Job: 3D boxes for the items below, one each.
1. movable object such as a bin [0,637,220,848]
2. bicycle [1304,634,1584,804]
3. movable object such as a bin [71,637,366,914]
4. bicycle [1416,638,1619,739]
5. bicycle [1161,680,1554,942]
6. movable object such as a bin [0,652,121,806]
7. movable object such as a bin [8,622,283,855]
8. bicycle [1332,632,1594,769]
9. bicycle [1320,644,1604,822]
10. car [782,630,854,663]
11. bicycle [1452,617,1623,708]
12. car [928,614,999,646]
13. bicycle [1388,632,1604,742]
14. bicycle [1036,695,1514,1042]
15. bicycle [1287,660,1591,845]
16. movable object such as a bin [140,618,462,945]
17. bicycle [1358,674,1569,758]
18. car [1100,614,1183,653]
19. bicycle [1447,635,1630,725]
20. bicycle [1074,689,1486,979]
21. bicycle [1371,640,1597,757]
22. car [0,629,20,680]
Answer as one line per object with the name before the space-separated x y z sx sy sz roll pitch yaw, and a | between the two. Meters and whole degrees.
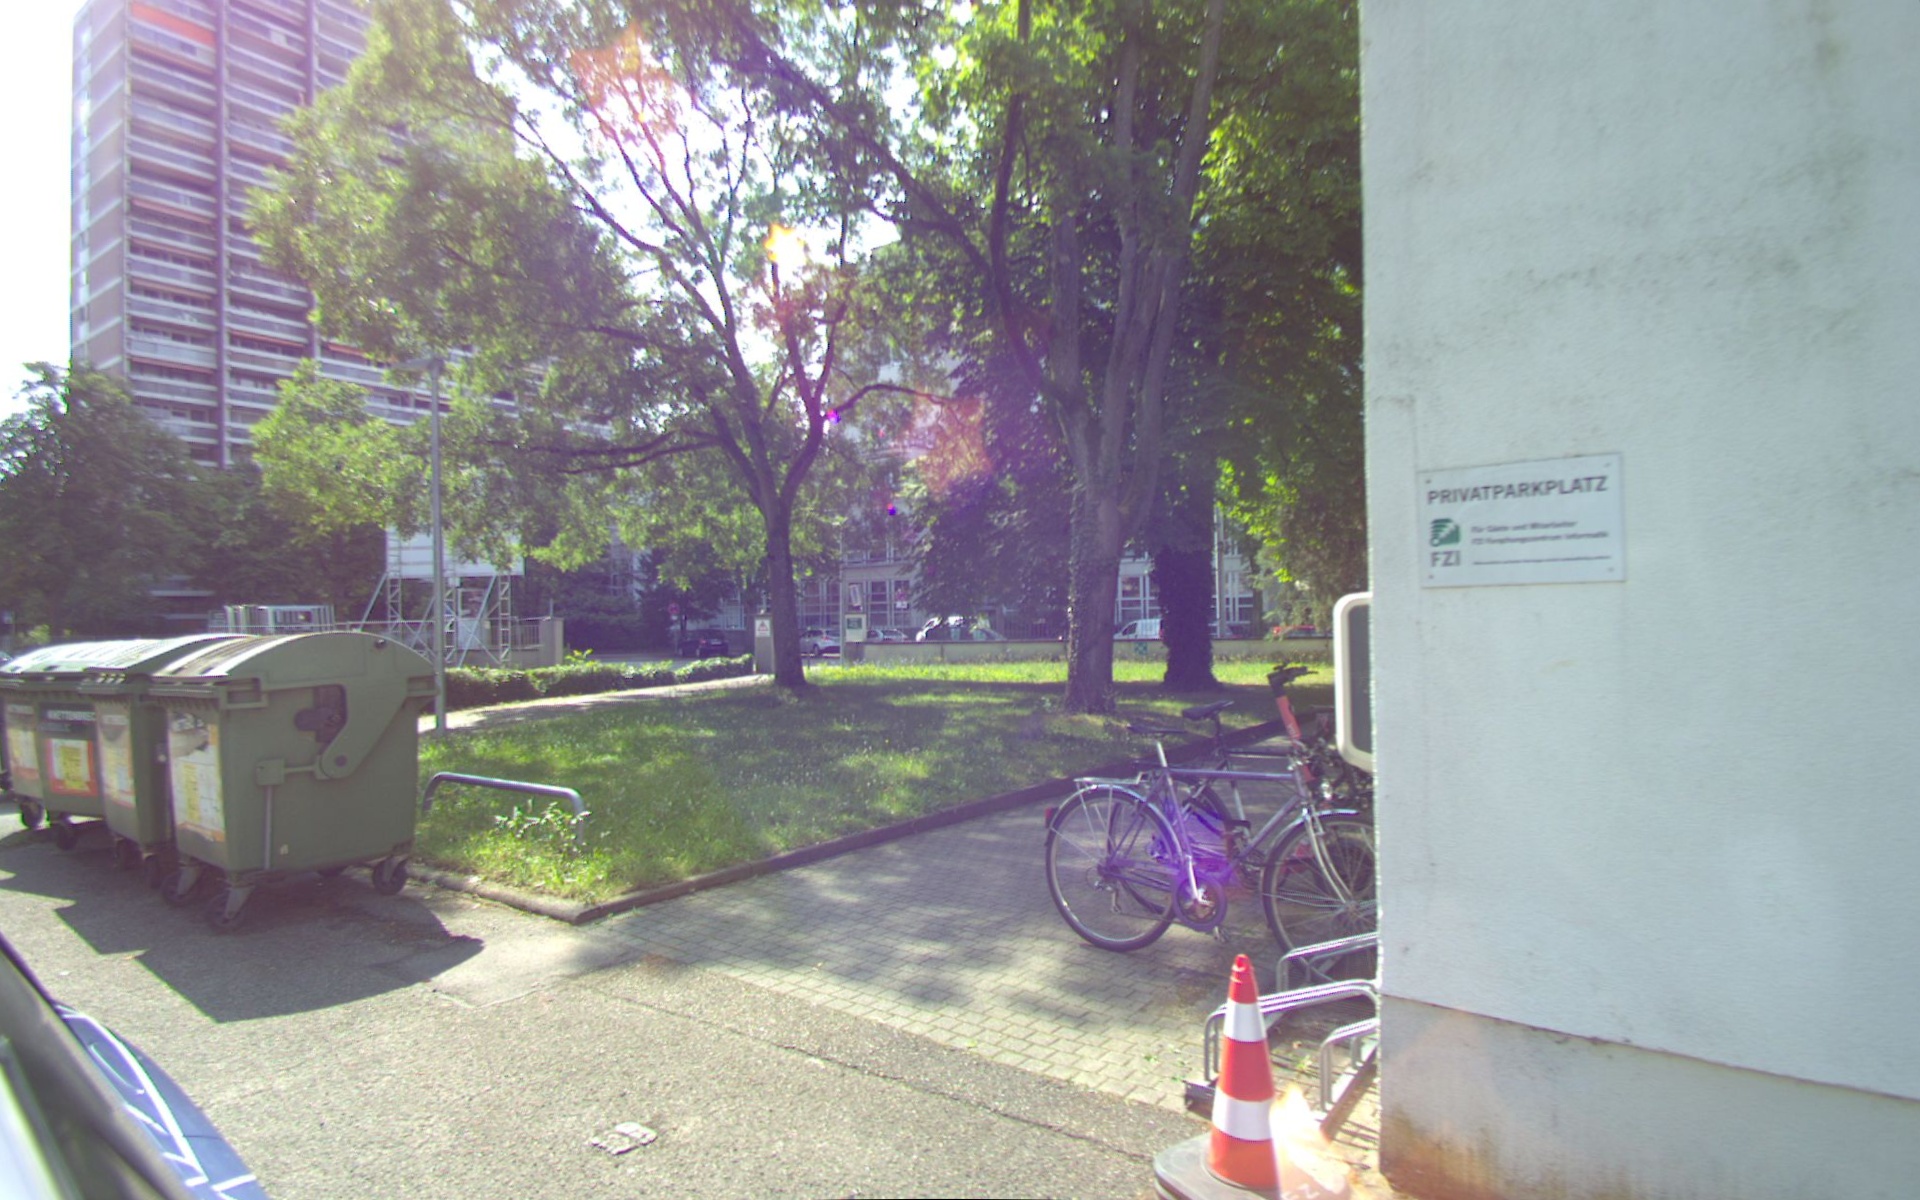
movable object such as a bin | -6.883 1.084 8.115 1.339 1.462 1.091 -4 -1 33
bicycle | 3.965 0.921 8.436 2.066 1.224 0.414 0 1 41
movable object such as a bin | -4.715 1.004 6.446 1.281 1.462 1.212 -3 -1 39
bicycle | 6.547 1.008 11.968 2.066 1.064 0.414 0 -3 41
bicycle | 1.960 0.996 5.189 1.856 1.045 0.316 0 1 36
movable object such as a bin | -9.721 1.309 10.653 1.229 1.493 1.299 0 -2 -34
movable object such as a bin | -5.848 0.928 7.304 1.227 1.462 1.093 -2 0 26
bicycle | 4.574 0.913 9.336 2.065 1.131 0.414 -5 -2 41
bicycle | 3.682 0.932 7.535 1.855 1.151 0.354 0 1 36
car | -7.425 2.409 52.717 1.754 1.475 4.245 5 -3 -38
bicycle | 7.271 0.762 12.800 1.855 1.045 0.316 0 1 36
car | 0.109 1.442 50.151 1.719 1.408 4.012 -1 1 -30
bicycle | 5.856 0.914 11.160 2.066 1.064 0.414 0 1 41
bicycle | 1.186 0.979 4.121 1.856 1.045 0.316 0 1 36
bicycle | 3.212 0.980 6.918 1.856 1.045 0.316 0 1 36
movable object such as a bin | -3.593 0.853 5.521 1.341 1.462 1.089 0 1 39
bicycle | 4.976 1.132 10.111 1.859 0.711 0.316 -2 0 43
car | 8.882 1.598 49.664 1.853 1.725 3.767 -2 1 -37
bicycle | 7.622 1.026 13.410 2.065 1.064 0.414 0 -3 41
bicycle | 1.428 1.010 4.780 1.856 1.045 0.316 0 1 36
bicycle | 5.441 0.986 10.617 2.066 1.064 0.414 0 1 41
car | -42.425 2.152 42.145 5.251 2.029 1.993 3 0 11
